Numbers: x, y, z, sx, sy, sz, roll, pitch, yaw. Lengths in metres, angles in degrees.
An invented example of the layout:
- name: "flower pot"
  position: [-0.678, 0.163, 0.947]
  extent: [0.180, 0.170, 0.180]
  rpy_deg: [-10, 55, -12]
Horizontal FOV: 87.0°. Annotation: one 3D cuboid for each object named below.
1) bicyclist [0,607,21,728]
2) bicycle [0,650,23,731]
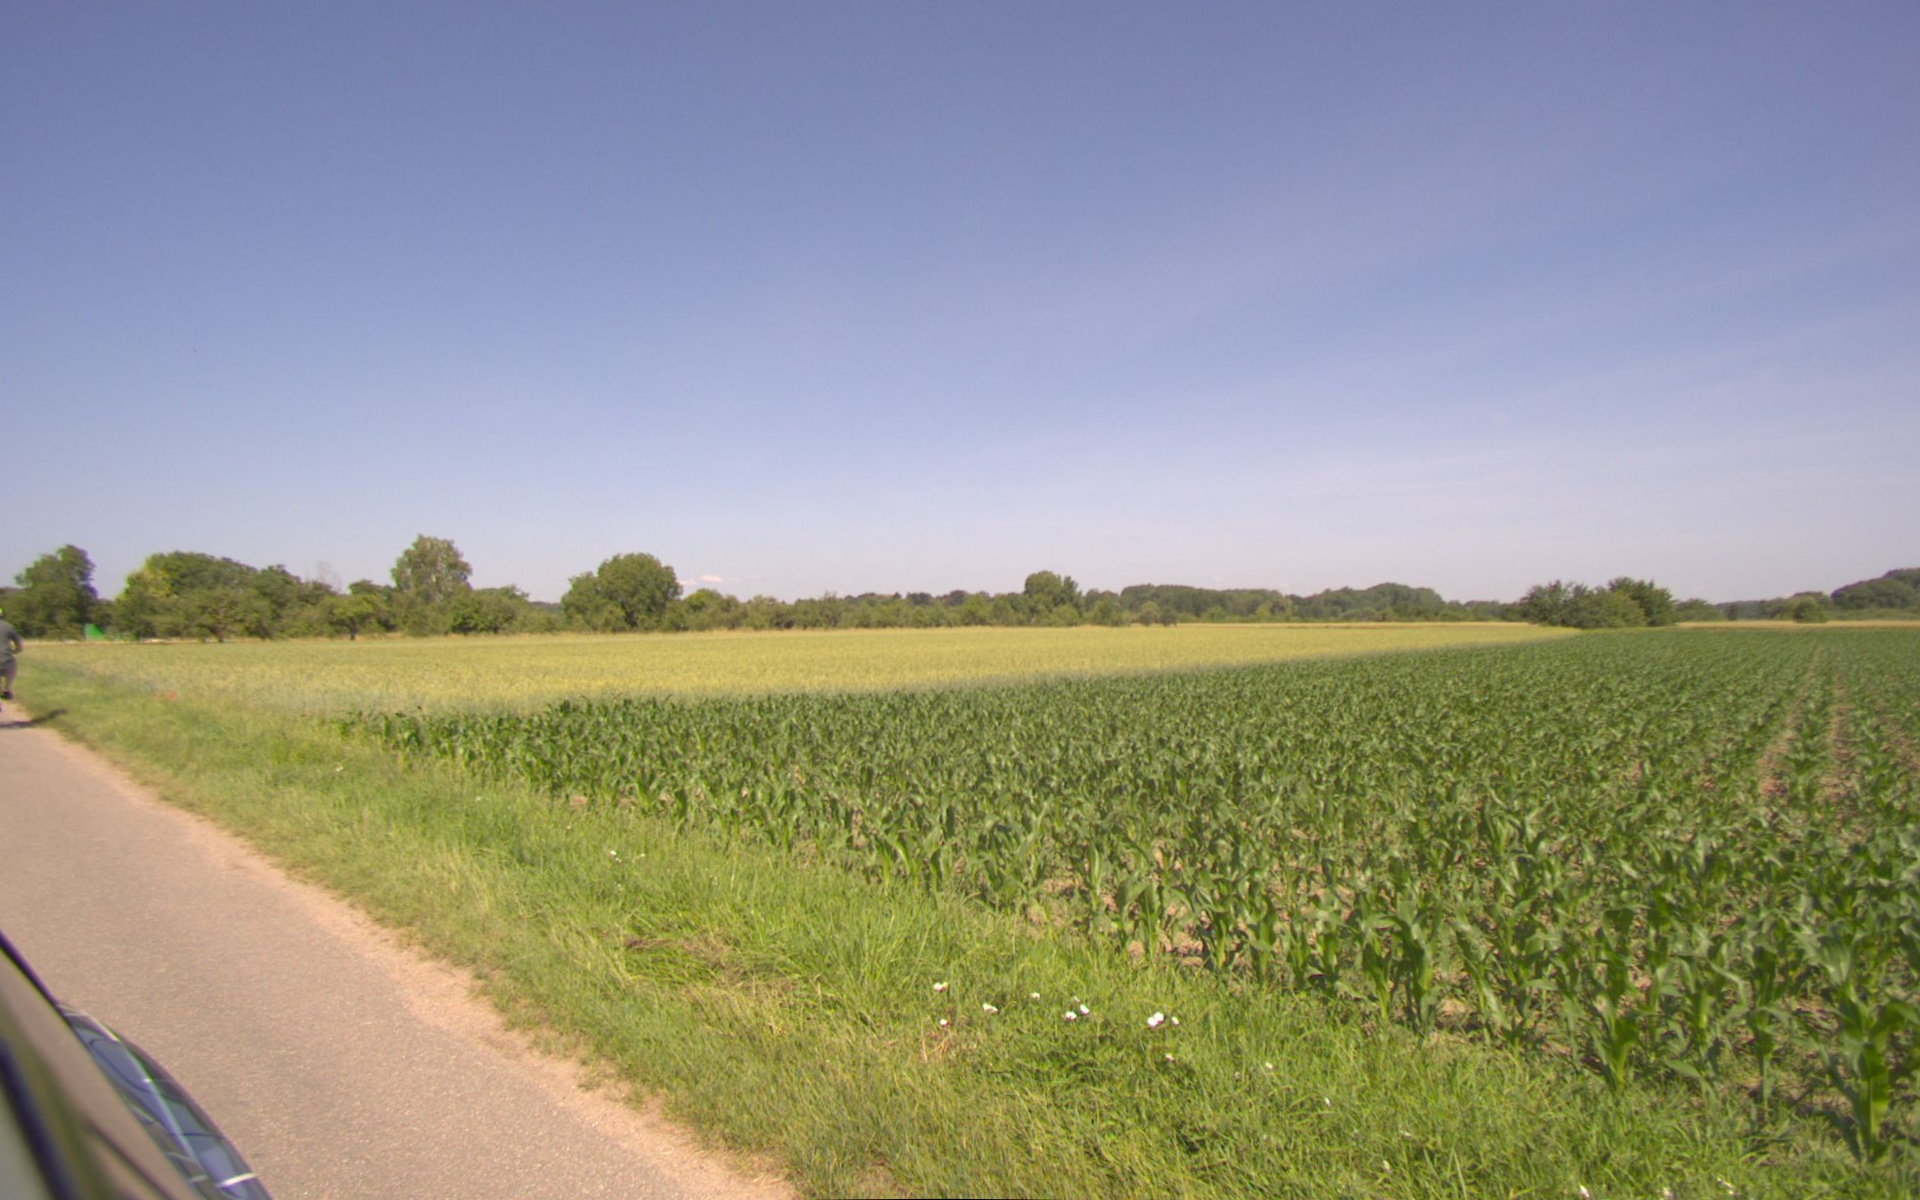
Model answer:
- name: "bicyclist"
  position: [-14.620, 0.997, 15.118]
  extent: [0.717, 1.805, 0.742]
  rpy_deg: [-1, -4, 42]
- name: "bicycle"
  position: [-14.652, 1.329, 15.134]
  extent: [1.908, 1.136, 0.742]
  rpy_deg: [-1, -3, 42]
